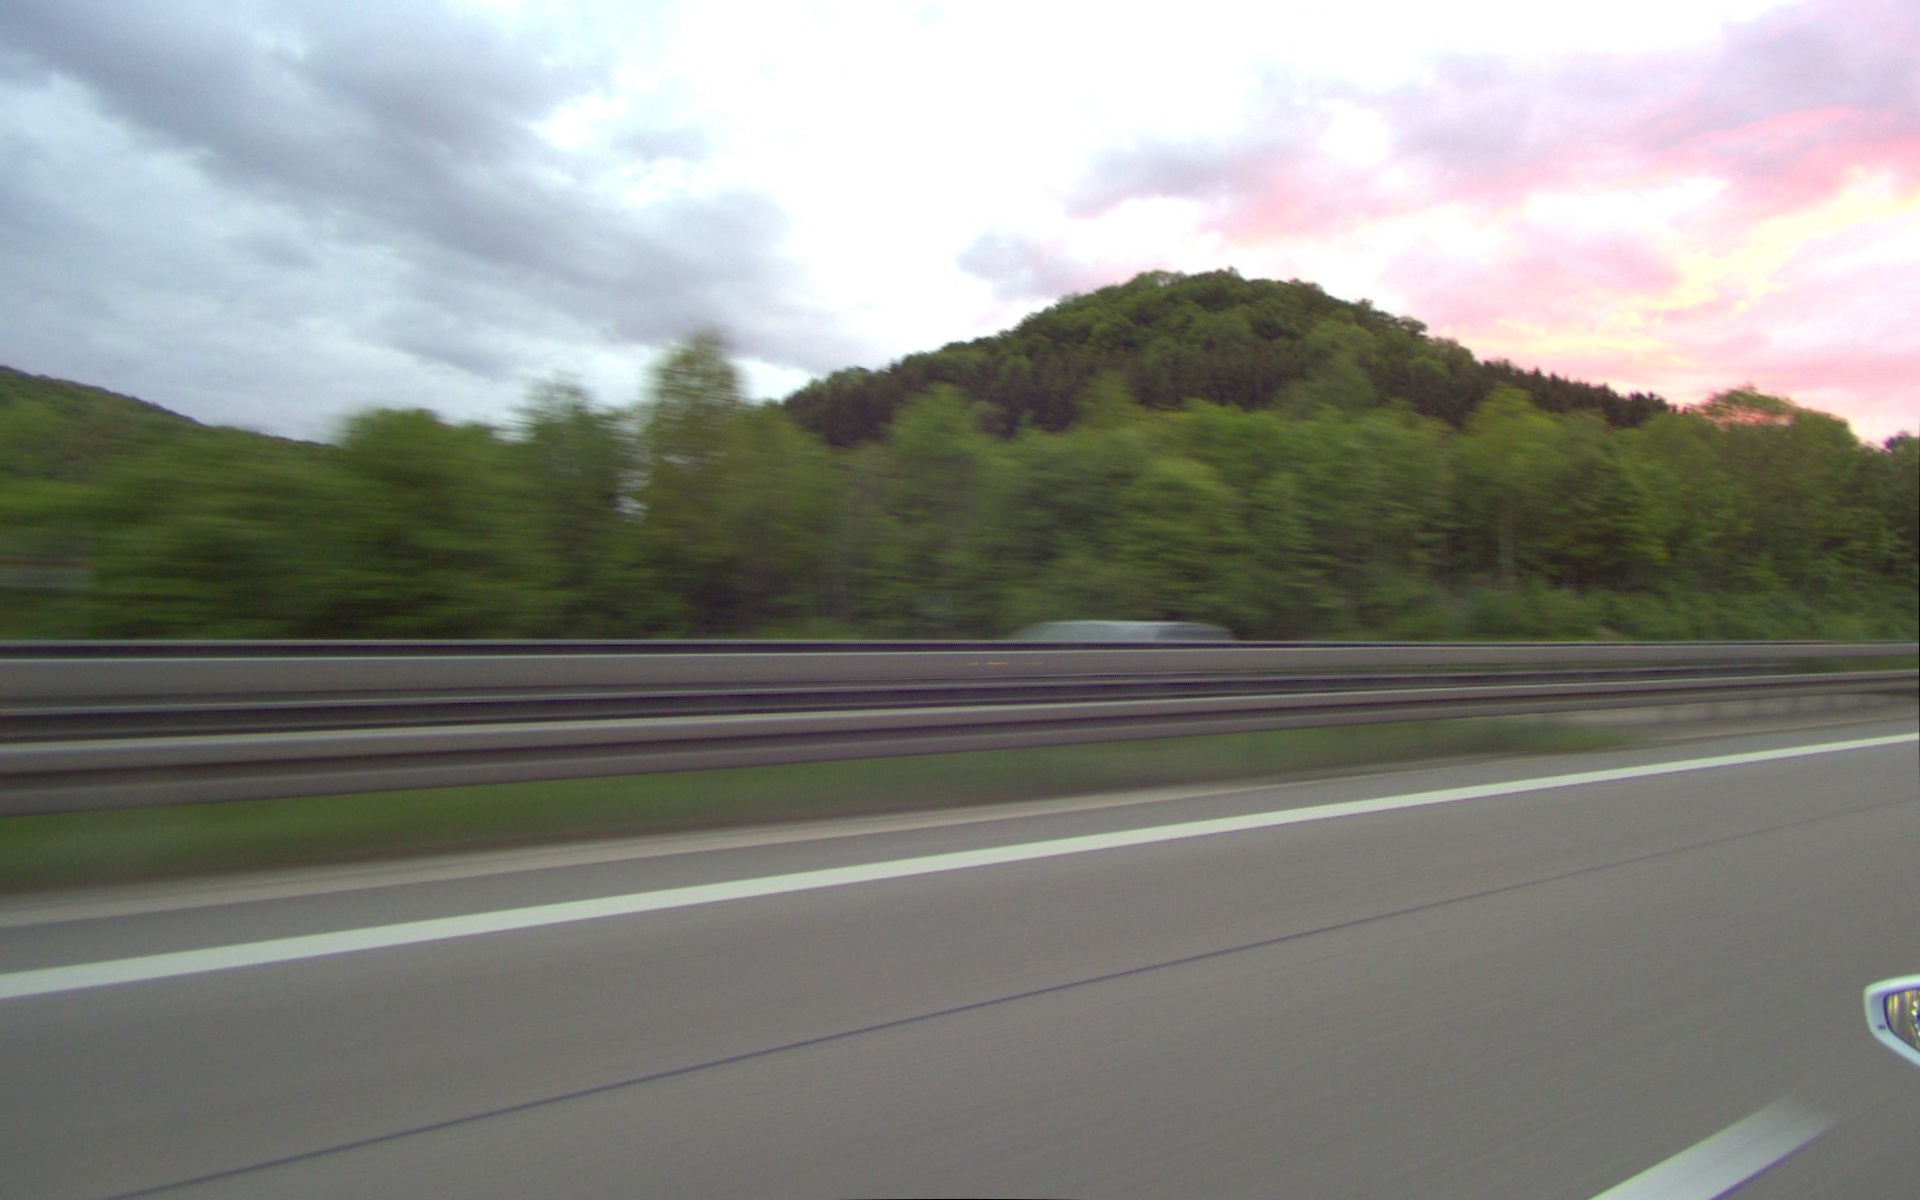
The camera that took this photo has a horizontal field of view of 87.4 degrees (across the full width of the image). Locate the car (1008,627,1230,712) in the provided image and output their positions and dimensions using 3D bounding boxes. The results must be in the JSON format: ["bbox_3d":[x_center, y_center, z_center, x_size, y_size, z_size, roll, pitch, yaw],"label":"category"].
[{"bbox_3d":[3.396,1.395,21.103,4.592,1.607,1.721,1,-1,-31],"label":"car"}]
